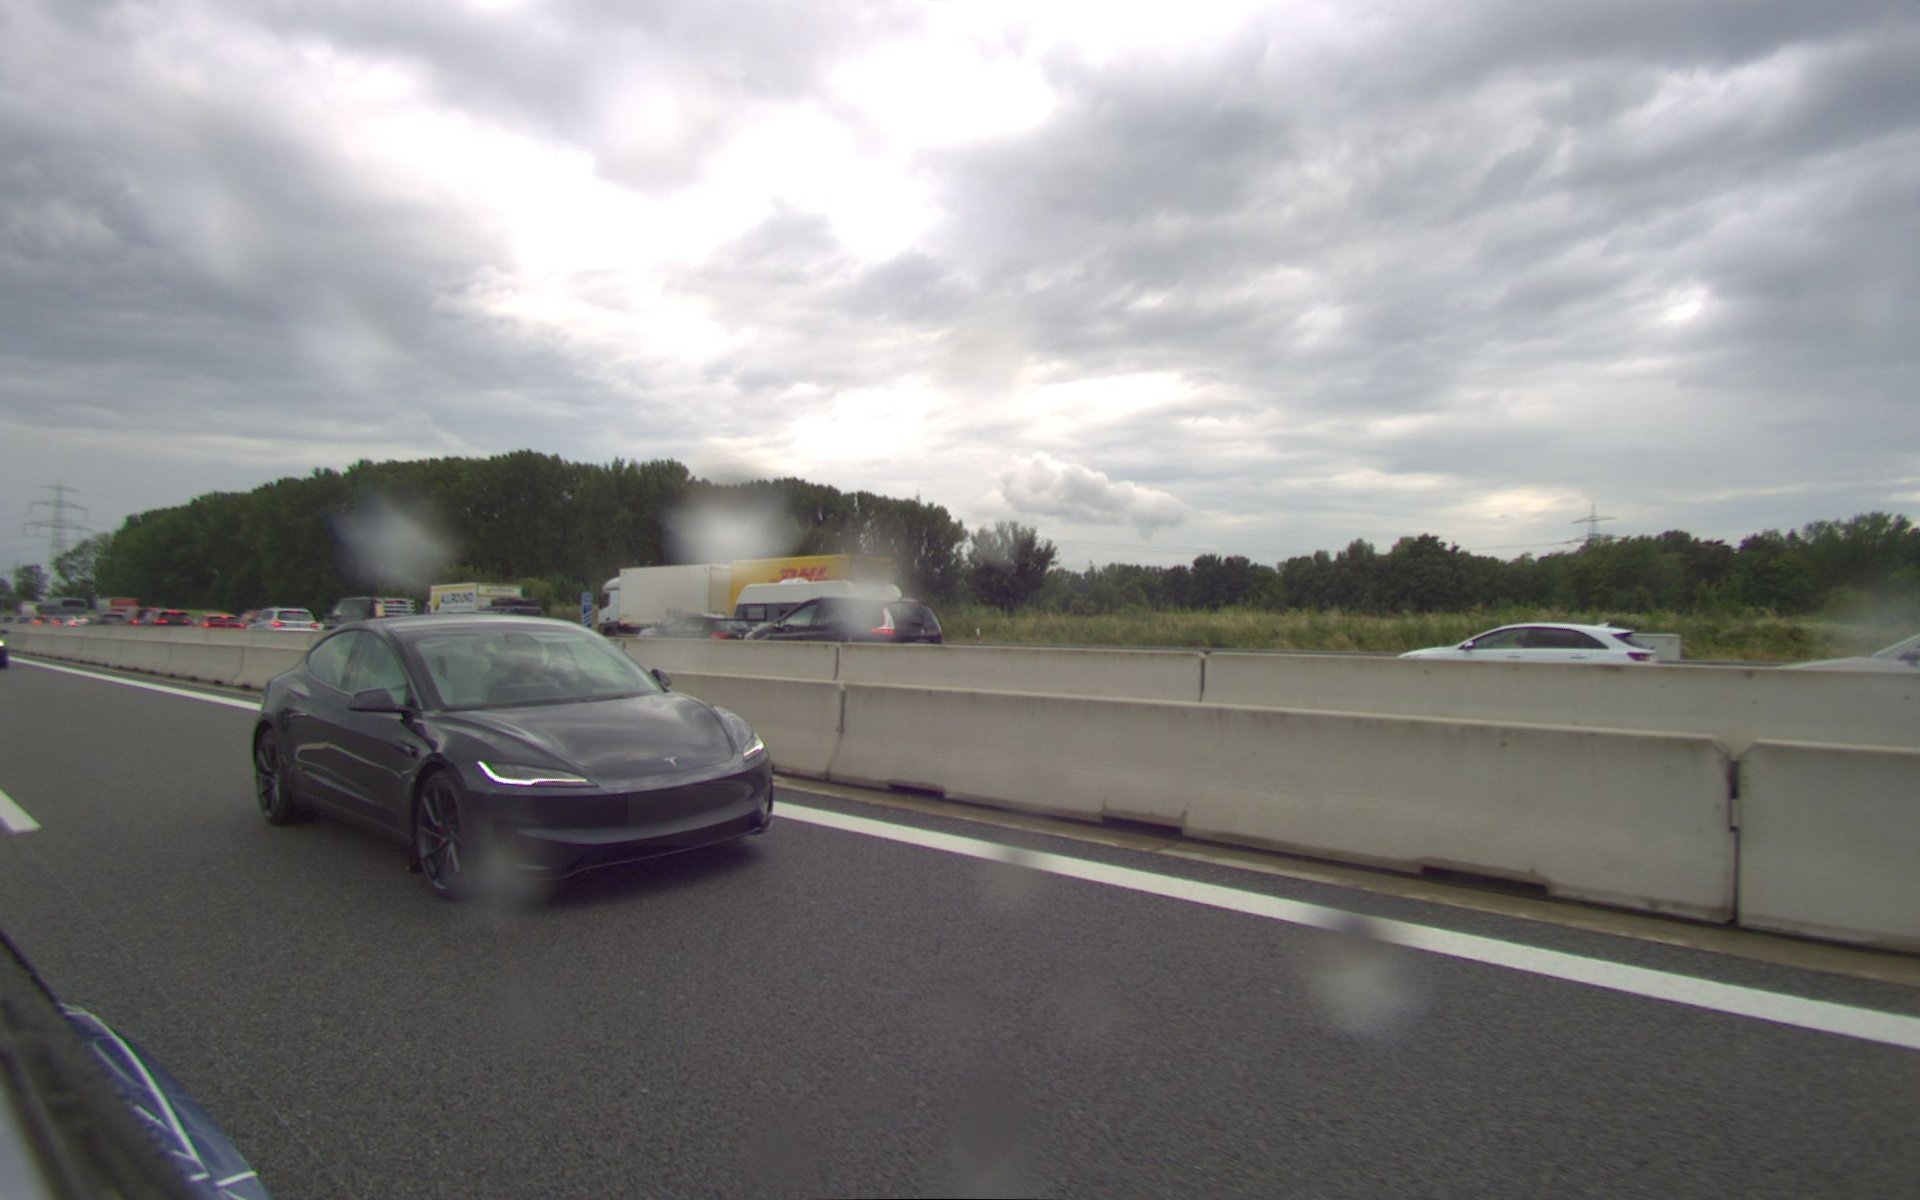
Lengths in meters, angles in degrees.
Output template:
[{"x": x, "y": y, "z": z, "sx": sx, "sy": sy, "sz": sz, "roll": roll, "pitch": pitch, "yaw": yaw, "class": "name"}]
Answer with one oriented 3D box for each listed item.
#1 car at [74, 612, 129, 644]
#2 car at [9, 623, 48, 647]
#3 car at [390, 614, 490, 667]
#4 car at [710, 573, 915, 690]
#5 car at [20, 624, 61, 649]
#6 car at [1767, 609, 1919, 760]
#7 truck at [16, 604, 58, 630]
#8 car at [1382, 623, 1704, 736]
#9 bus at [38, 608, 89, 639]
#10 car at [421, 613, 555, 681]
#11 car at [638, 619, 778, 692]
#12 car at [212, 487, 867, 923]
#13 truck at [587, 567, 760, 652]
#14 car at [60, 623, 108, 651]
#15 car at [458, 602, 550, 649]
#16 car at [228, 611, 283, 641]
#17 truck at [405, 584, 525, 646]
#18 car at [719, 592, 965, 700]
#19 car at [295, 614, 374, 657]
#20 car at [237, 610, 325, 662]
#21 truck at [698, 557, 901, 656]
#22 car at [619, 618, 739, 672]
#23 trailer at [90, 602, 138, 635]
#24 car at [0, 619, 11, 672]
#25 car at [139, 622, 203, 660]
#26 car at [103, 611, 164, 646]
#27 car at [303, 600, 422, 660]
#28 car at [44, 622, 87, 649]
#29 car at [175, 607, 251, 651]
[{"x": -57.607, "y": 1.854, "z": 67.886, "sx": 5.415, "sy": 2.029, "sz": 1.973, "roll": -1, "pitch": -1, "yaw": 41, "class": "car"}, {"x": -81.028, "y": 3.011, "z": 87.992, "sx": 4.693, "sy": 1.982, "sz": 1.973, "roll": -1, "pitch": -1, "yaw": 41, "class": "car"}, {"x": -21.124, "y": 1.596, "z": 41.057, "sx": 4.811, "sy": 2.029, "sz": 1.973, "roll": -1, "pitch": -1, "yaw": 41, "class": "car"}, {"x": -4.724, "y": 0.942, "z": 31.630, "sx": 6.557, "sy": 3.302, "sz": 2.633, "roll": -1, "pitch": -1, "yaw": 40, "class": "car"}, {"x": -76.414, "y": 2.999, "z": 84.099, "sx": 4.693, "sy": 2.029, "sz": 1.973, "roll": -1, "pitch": -1, "yaw": 41, "class": "car"}, {"x": 12.461, "y": 0.968, "z": 11.796, "sx": 4.696, "sy": 1.728, "sz": 1.973, "roll": -1, "pitch": -1, "yaw": 41, "class": "car"}, {"x": -139.670, "y": 2.612, "z": 153.076, "sx": 13.289, "sy": 3.774, "sz": 3.117, "roll": -1, "pitch": -1, "yaw": 40, "class": "truck"}, {"x": 10.292, "y": 1.293, "z": 18.099, "sx": 4.696, "sy": 1.728, "sz": 1.973, "roll": -1, "pitch": -1, "yaw": 41, "class": "car"}, {"x": -105.211, "y": 2.746, "z": 118.696, "sx": 13.989, "sy": 3.411, "sz": 2.659, "roll": -1, "pitch": -1, "yaw": 41, "class": "bus"}, {"x": -13.372, "y": 1.278, "z": 28.598, "sx": 3.998, "sy": 1.763, "sz": 1.973, "roll": -1, "pitch": -1, "yaw": 41, "class": "car"}, {"x": -7.275, "y": 1.520, "z": 29.076, "sx": 3.998, "sy": 1.918, "sz": 1.973, "roll": -1, "pitch": -1, "yaw": 41, "class": "car"}, {"x": -3.114, "y": 0.484, "z": 6.728, "sx": 5.160, "sy": 1.834, "sz": 1.973, "roll": -1, "pitch": -1, "yaw": 42, "class": "car"}, {"x": -13.774, "y": 0.473, "z": 47.927, "sx": 10.309, "sy": 3.640, "sz": 2.847, "roll": -1, "pitch": -1, "yaw": 42, "class": "truck"}, {"x": -64.914, "y": 2.708, "z": 74.972, "sx": 4.969, "sy": 2.029, "sz": 1.973, "roll": -1, "pitch": -1, "yaw": 41, "class": "car"}, {"x": -21.187, "y": 1.172, "z": 46.896, "sx": 5.095, "sy": 2.029, "sz": 1.973, "roll": -1, "pitch": -1, "yaw": 42, "class": "car"}, {"x": -48.615, "y": 1.780, "z": 69.807, "sx": 4.684, "sy": 2.029, "sz": 1.973, "roll": -1, "pitch": -1, "yaw": 41, "class": "car"}, {"x": -28.460, "y": 0.866, "z": 57.955, "sx": 9.196, "sy": 3.315, "sz": 2.880, "roll": -1, "pitch": -1, "yaw": 41, "class": "truck"}, {"x": -2.322, "y": 0.799, "z": 19.028, "sx": 4.670, "sy": 1.795, "sz": 1.973, "roll": -1, "pitch": -1, "yaw": 41, "class": "car"}, {"x": -30.853, "y": 1.718, "z": 49.850, "sx": 4.811, "sy": 2.029, "sz": 1.973, "roll": -1, "pitch": -1, "yaw": 41, "class": "car"}, {"x": -28.479, "y": 1.478, "z": 42.385, "sx": 4.422, "sy": 2.029, "sz": 1.973, "roll": -1, "pitch": -1, "yaw": 41, "class": "car"}, {"x": -6.828, "y": 0.312, "z": 41.666, "sx": 9.577, "sy": 3.640, "sz": 2.847, "roll": -1, "pitch": -1, "yaw": 42, "class": "truck"}, {"x": -10.057, "y": 1.554, "z": 36.033, "sx": 4.708, "sy": 1.785, "sz": 1.854, "roll": -1, "pitch": -1, "yaw": 41, "class": "car"}, {"x": -99.812, "y": 2.164, "z": 119.324, "sx": 9.155, "sy": 3.791, "sz": 2.831, "roll": -1, "pitch": -2, "yaw": 41, "class": "trailer"}, {"x": -27.866, "y": 1.279, "z": 28.110, "sx": 3.999, "sy": 1.426, "sz": 1.897, "roll": -2, "pitch": -2, "yaw": 42, "class": "car"}, {"x": -42.906, "y": 2.185, "z": 54.993, "sx": 4.501, "sy": 1.918, "sz": 1.973, "roll": -1, "pitch": -1, "yaw": 41, "class": "car"}, {"x": -50.154, "y": 1.688, "z": 61.372, "sx": 5.415, "sy": 2.029, "sz": 1.973, "roll": -1, "pitch": -1, "yaw": 41, "class": "car"}, {"x": -21.783, "y": 1.067, "z": 36.773, "sx": 5.754, "sy": 2.029, "sz": 1.973, "roll": -1, "pitch": -1, "yaw": 41, "class": "car"}, {"x": -69.659, "y": 2.717, "z": 78.791, "sx": 4.347, "sy": 2.029, "sz": 1.973, "roll": -1, "pitch": -1, "yaw": 41, "class": "car"}, {"x": -36.313, "y": 1.406, "z": 49.154, "sx": 4.684, "sy": 2.029, "sz": 1.973, "roll": -1, "pitch": -1, "yaw": 41, "class": "car"}]
